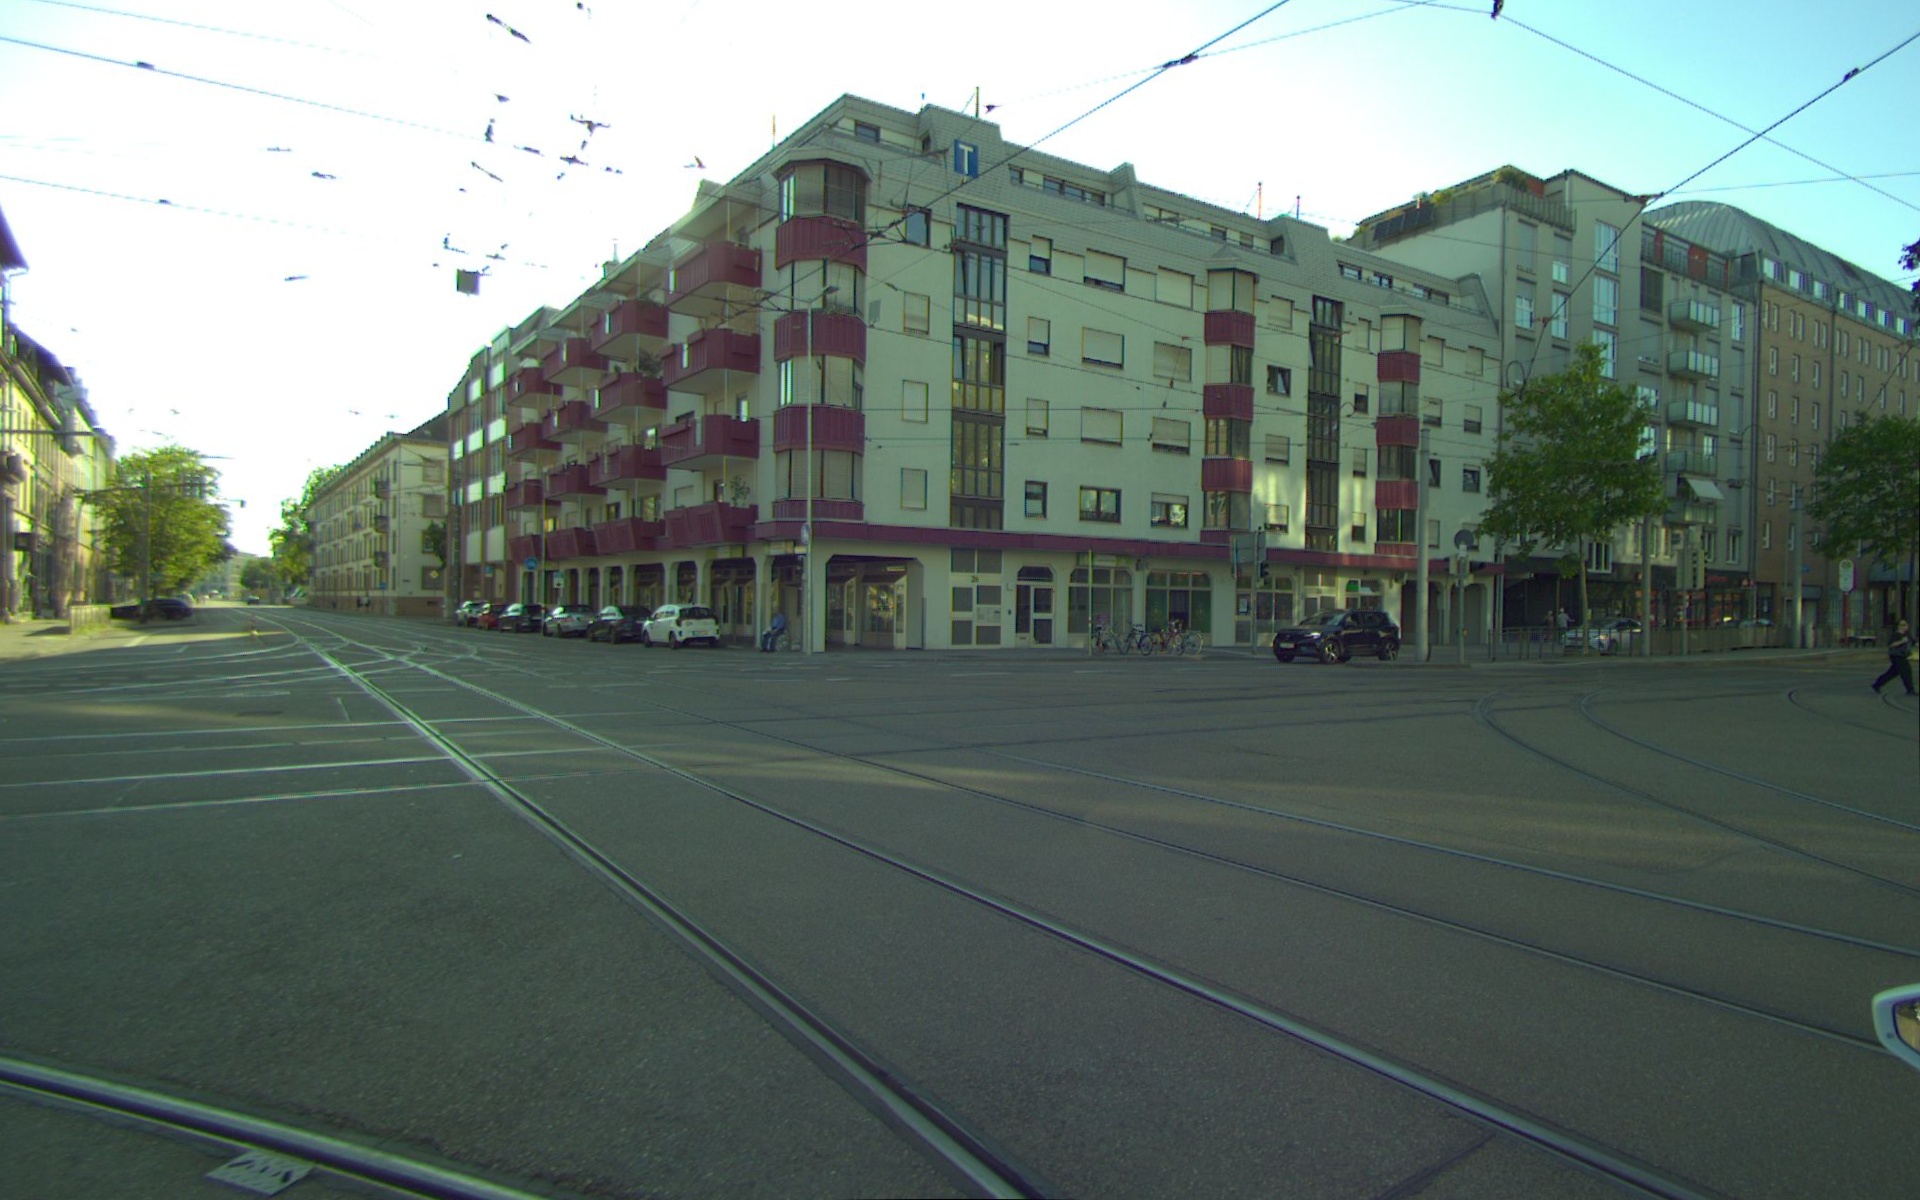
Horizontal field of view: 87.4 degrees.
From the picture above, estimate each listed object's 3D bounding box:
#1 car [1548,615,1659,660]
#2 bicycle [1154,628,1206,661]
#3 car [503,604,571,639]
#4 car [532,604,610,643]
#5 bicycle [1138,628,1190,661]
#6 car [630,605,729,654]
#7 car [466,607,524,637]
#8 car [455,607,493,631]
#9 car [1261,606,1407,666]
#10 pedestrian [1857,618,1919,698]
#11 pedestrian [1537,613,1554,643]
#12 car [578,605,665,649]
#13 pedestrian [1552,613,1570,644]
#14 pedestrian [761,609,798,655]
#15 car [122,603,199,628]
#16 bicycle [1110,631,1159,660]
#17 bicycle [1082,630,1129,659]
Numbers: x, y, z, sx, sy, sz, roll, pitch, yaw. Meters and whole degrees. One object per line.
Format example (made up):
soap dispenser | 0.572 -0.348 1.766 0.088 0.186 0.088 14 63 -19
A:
car | 24.698 1.386 38.539 4.211 1.616 1.945 1 0 -31
bicycle | 7.224 1.446 33.056 0.547 0.998 1.833 1 0 -32
car | -20.796 1.022 49.267 1.982 1.576 4.535 1 0 -38
car | -17.056 0.988 43.890 1.982 1.576 4.535 1 0 -38
bicycle | 6.650 1.430 32.854 0.547 0.998 1.833 1 0 -32
car | -9.771 0.992 34.806 1.982 1.576 3.957 1 0 -38
car | -25.822 1.202 55.688 1.982 1.576 4.535 1 0 -38
car | -28.795 1.132 59.488 1.447 1.351 3.149 1 0 -37
car | 11.283 1.047 30.236 4.211 1.695 1.945 1 0 -31
pedestrian | 19.072 1.160 20.471 0.687 1.565 1.039 1 0 -35
pedestrian | 29.332 1.389 50.335 0.581 1.514 0.531 1 0 -33
car | -13.173 1.001 38.955 1.982 1.576 4.079 1 0 -38
pedestrian | 29.823 1.409 49.846 0.581 1.514 0.531 1 0 -33
pedestrian | -5.654 0.991 31.443 0.830 1.402 0.849 1 0 -40
car | -53.565 1.038 67.332 3.966 1.595 1.977 1 0 -40
bicycle | 5.580 1.448 32.188 0.546 0.865 1.836 1 0 -27
bicycle | 4.673 1.424 32.345 0.546 0.865 1.836 1 0 -27
